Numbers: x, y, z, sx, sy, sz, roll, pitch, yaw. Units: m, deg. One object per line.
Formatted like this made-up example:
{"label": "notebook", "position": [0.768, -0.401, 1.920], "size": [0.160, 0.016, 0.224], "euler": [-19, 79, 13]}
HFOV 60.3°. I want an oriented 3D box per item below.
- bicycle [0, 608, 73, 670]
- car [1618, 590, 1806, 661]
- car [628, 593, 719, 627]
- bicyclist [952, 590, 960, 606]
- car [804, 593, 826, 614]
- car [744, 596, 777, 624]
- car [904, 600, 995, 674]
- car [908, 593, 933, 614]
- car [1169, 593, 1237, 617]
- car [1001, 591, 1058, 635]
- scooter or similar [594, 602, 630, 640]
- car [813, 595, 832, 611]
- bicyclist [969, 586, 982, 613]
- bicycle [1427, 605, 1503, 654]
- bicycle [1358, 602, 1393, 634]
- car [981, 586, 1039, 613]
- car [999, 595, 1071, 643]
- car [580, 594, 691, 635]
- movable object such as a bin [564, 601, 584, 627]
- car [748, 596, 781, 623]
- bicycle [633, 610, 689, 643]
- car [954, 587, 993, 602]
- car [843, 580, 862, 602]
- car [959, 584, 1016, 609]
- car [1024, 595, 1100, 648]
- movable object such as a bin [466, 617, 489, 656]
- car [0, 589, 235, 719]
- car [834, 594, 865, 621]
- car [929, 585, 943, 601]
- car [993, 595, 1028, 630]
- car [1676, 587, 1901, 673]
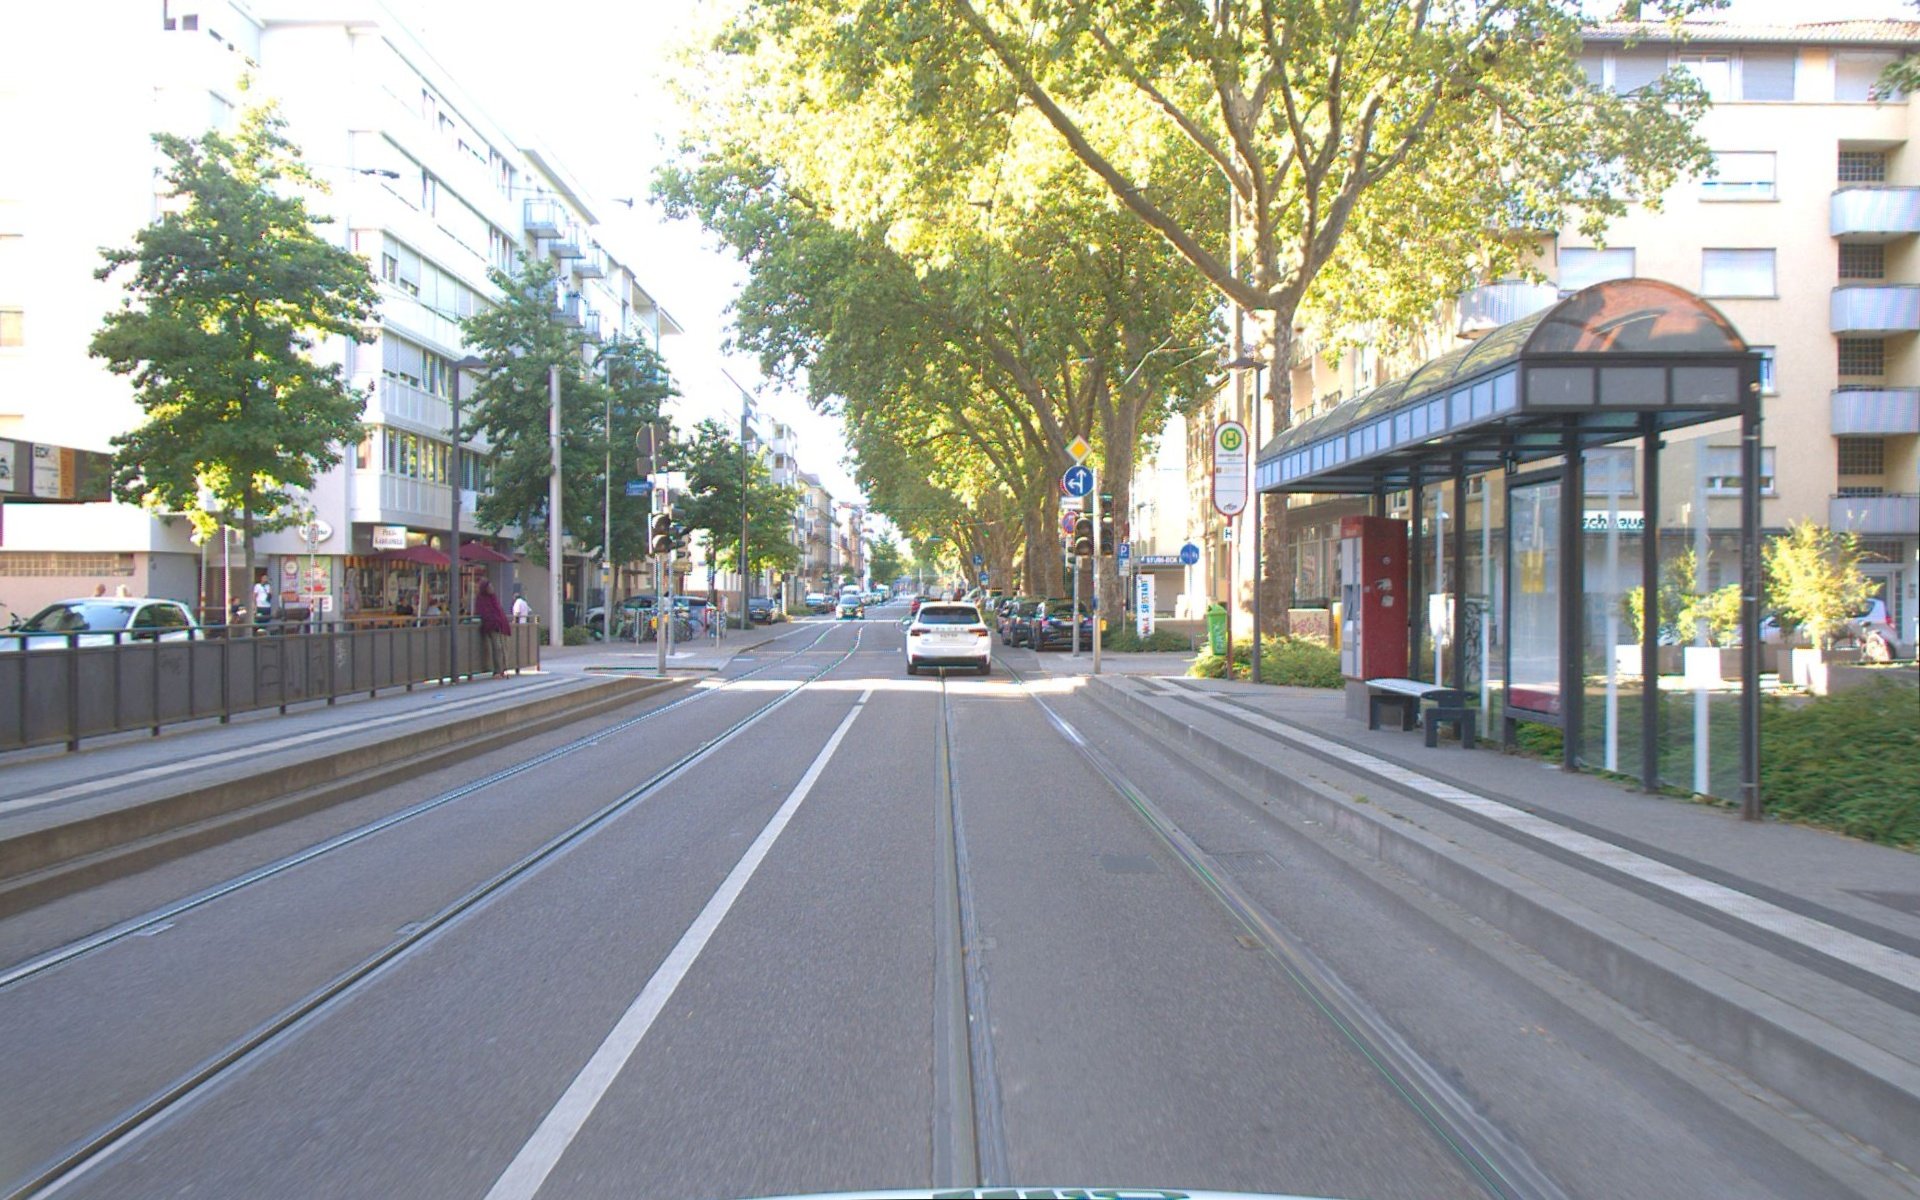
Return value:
{"label": "bicycle", "position": [-18.428, 0.762, 32.387], "size": [1.750, 1.177, 0.571], "euler": [0, 0, -8]}
{"label": "car", "position": [18.390, 0.602, 40.562], "size": [3.783, 1.579, 1.866], "euler": [-1, 3, -1]}
{"label": "car", "position": [-13.150, 0.469, 76.044], "size": [3.933, 1.501, 1.850], "euler": [1, 0, -4]}
{"label": "bicyclist", "position": [-0.378, -0.163, 145.224], "size": [0.636, 1.367, 0.934], "euler": [0, 0, -3]}
{"label": "car", "position": [-12.412, 0.262, 141.821], "size": [1.668, 1.679, 4.239], "euler": [2, 0, -3]}
{"label": "car", "position": [-11.199, 0.546, 92.551], "size": [1.681, 1.489, 3.993], "euler": [3, 0, -8]}
{"label": "car", "position": [-0.270, 0.717, 34.086], "size": [1.726, 1.408, 3.998], "euler": [-1, 0, -2]}
{"label": "car", "position": [-2.863, 0.224, 120.684], "size": [1.726, 1.501, 4.000], "euler": [-1, 0, -1]}
{"label": "car", "position": [15.936, 0.324, 108.695], "size": [4.052, 1.621, 1.997], "euler": [0, 0, -6]}
{"label": "car", "position": [2.727, 0.508, 65.544], "size": [1.820, 1.631, 4.779], "euler": [-1, -1, -2]}
{"label": "scooter or similar", "position": [-11.359, 0.679, 53.958], "size": [1.058, 1.197, 0.498], "euler": [1, -1, -3]}
{"label": "car", "position": [-13.089, 0.306, 157.426], "size": [1.620, 1.462, 3.835], "euler": [0, 0, -3]}
{"label": "bicyclist", "position": [0.862, -0.017, 92.589], "size": [0.664, 1.468, 1.047], "euler": [0, 0, 0]}
{"label": "bicycle", "position": [12.914, 0.739, 42.314], "size": [1.767, 1.177, 0.740], "euler": [-2, 0, -23]}
{"label": "bicycle", "position": [13.790, 0.588, 54.917], "size": [0.559, 1.014, 1.778], "euler": [-2, 0, -6]}
{"label": "car", "position": [3.903, -0.018, 130.149], "size": [4.453, 2.113, 1.999], "euler": [0, 0, -4]}
{"label": "car", "position": [2.399, 0.594, 53.668], "size": [1.828, 1.462, 4.222], "euler": [-1, 0, -4]}
{"label": "car", "position": [-12.593, 0.554, 64.392], "size": [3.930, 1.501, 1.851], "euler": [1, 0, -1]}
{"label": "movable object such as a bin", "position": [-16.057, 0.587, 68.794], "size": [0.664, 1.074, 0.622], "euler": [0, 0, 1]}
{"label": "car", "position": [-11.491, 0.559, 97.331], "size": [1.680, 1.489, 4.372], "euler": [3, 0, -5]}
{"label": "bicycle", "position": [-9.414, 0.830, 52.090], "size": [1.658, 1.025, 0.657], "euler": [1, -1, -6]}
{"label": "car", "position": [2.051, -0.845, 255.954], "size": [6.008, 2.322, 2.528], "euler": [0, 0, -3]}
{"label": "car", "position": [-14.112, -1.179, 217.039], "size": [2.295, 2.911, 3.999], "euler": [0, 0, -1]}
{"label": "car", "position": [2.938, -0.396, 177.124], "size": [6.008, 2.681, 2.528], "euler": [0, 0, -3]}
{"label": "car", "position": [2.937, 0.596, 48.623], "size": [1.729, 1.488, 5.010], "euler": [0, 0, -3]}
{"label": "movable object such as a bin", "position": [-12.005, 0.900, 41.122], "size": [0.530, 0.948, 0.647], "euler": [0, 0, -18]}
{"label": "car", "position": [-12.272, 0.703, 23.817], "size": [1.840, 1.680, 4.356], "euler": [-1, 0, -2]}
{"label": "car", "position": [-7.088, 0.445, 106.498], "size": [1.834, 1.617, 4.144], "euler": [2, 0, -3]}
{"label": "car", "position": [-3.751, -1.131, 257.571], "size": [2.157, 2.429, 3.999], "euler": [0, 0, -1]}
{"label": "car", "position": [2.287, 0.568, 75.530], "size": [1.531, 1.545, 2.910], "euler": [-1, -1, 1]}
{"label": "car", "position": [17.298, 0.610, 34.650], "size": [3.783, 1.722, 1.865], "euler": [-1, 0, -1]}
